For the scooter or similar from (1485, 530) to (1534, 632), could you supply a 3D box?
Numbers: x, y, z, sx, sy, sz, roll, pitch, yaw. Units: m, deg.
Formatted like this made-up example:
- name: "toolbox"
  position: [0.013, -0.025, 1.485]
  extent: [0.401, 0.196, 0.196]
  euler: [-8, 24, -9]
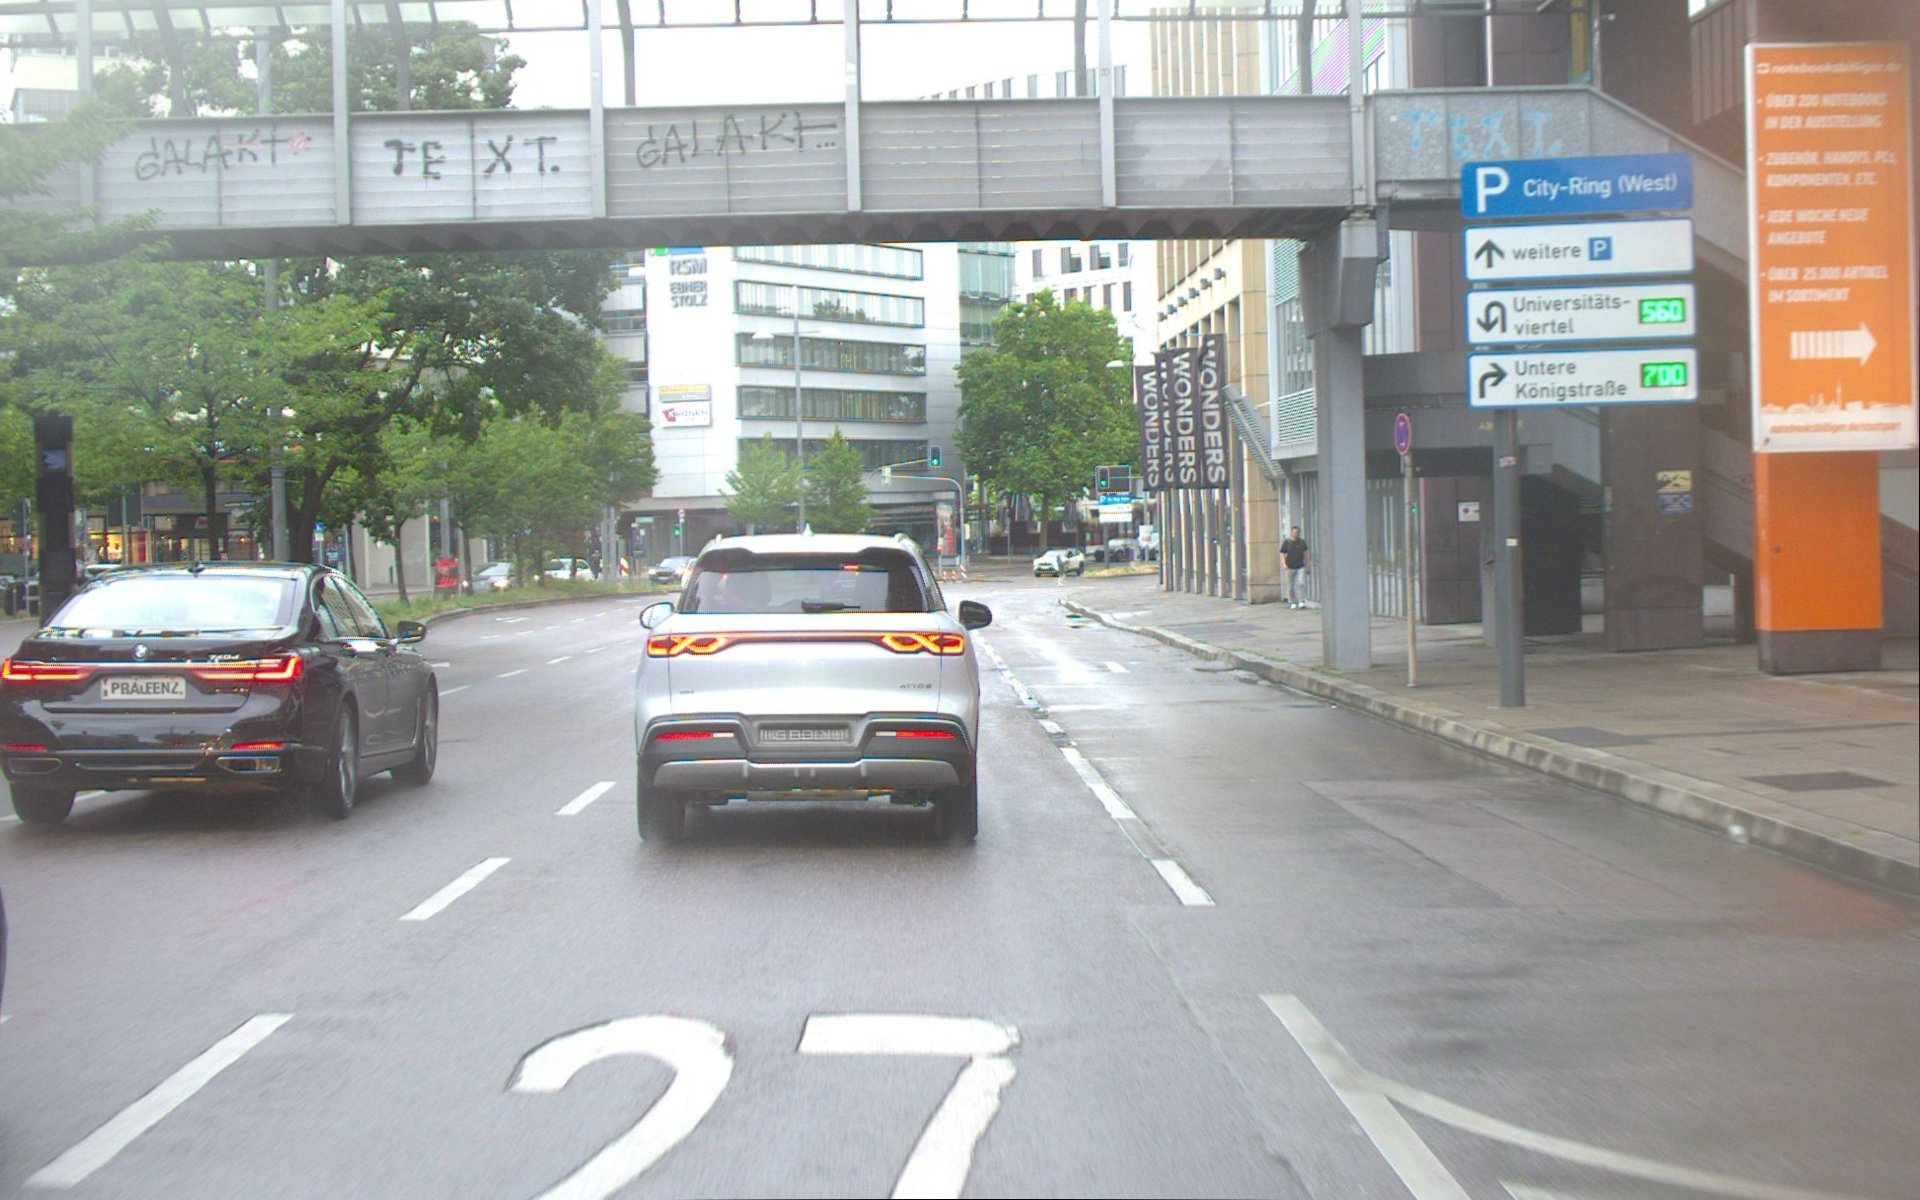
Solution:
- name: "scooter or similar"
  position: [6.883, -0.239, 43.096]
  extent: [0.349, 1.251, 1.395]
  euler: [-1, 1, -1]

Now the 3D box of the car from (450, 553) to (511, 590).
- name: "car"
  position: [-17.831, -1.058, 128.010]
  extent: [1.623, 1.307, 3.617]
  euler: [-1, 0, 2]

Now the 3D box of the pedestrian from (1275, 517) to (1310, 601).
- name: "pedestrian"
  position: [7.127, -0.871, 73.691]
  extent: [0.635, 1.766, 0.790]
  euler: [-1, 0, 0]

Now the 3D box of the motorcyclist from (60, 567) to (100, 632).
- name: "motorcyclist"
  position: [-19.617, -0.014, 76.650]
  extent: [0.638, 1.413, 0.970]
  euler: [-1, 0, -1]

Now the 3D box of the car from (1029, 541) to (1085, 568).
- name: "car"
  position: [5.784, -2.702, 204.821]
  extent: [1.583, 1.533, 3.994]
  euler: [0, 1, 30]

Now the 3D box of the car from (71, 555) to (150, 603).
- name: "car"
  position: [-26.265, -0.664, 106.361]
  extent: [1.623, 1.455, 3.963]
  euler: [0, 1, -3]

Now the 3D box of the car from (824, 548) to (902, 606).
- name: "car"
  position: [-2.720, -0.660, 97.113]
  extent: [1.812, 1.573, 4.000]
  euler: [-1, 1, 4]

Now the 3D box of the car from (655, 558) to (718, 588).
- name: "car"
  position: [-13.667, -1.355, 171.986]
  extent: [1.625, 1.448, 4.158]
  euler: [-1, 0, 18]

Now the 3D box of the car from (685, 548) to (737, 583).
- name: "car"
  position: [-9.611, -1.348, 132.933]
  extent: [1.653, 1.337, 4.000]
  euler: [-1, 1, 1]

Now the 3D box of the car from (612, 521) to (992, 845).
- name: "car"
  position: [-0.830, 0.395, 19.329]
  extent: [1.901, 1.616, 4.000]
  euler: [0, 1, -1]

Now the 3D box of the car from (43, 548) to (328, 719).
- name: "car"
  position: [-7.121, 0.288, 31.982]
  extent: [1.774, 1.452, 4.000]
  euler: [-1, 0, -1]

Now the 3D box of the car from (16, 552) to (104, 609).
- name: "car"
  position: [-26.170, -0.585, 100.057]
  extent: [1.623, 1.605, 4.232]
  euler: [0, 1, -3]

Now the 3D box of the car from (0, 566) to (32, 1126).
- name: "car"
  position: [-3.365, 0.652, 7.179]
  extent: [1.672, 1.474, 4.360]
  euler: [0, 0, 0]

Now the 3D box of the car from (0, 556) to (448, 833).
- name: "car"
  position: [-4.416, 0.477, 20.924]
  extent: [1.872, 1.474, 4.878]
  euler: [-1, 1, 0]
